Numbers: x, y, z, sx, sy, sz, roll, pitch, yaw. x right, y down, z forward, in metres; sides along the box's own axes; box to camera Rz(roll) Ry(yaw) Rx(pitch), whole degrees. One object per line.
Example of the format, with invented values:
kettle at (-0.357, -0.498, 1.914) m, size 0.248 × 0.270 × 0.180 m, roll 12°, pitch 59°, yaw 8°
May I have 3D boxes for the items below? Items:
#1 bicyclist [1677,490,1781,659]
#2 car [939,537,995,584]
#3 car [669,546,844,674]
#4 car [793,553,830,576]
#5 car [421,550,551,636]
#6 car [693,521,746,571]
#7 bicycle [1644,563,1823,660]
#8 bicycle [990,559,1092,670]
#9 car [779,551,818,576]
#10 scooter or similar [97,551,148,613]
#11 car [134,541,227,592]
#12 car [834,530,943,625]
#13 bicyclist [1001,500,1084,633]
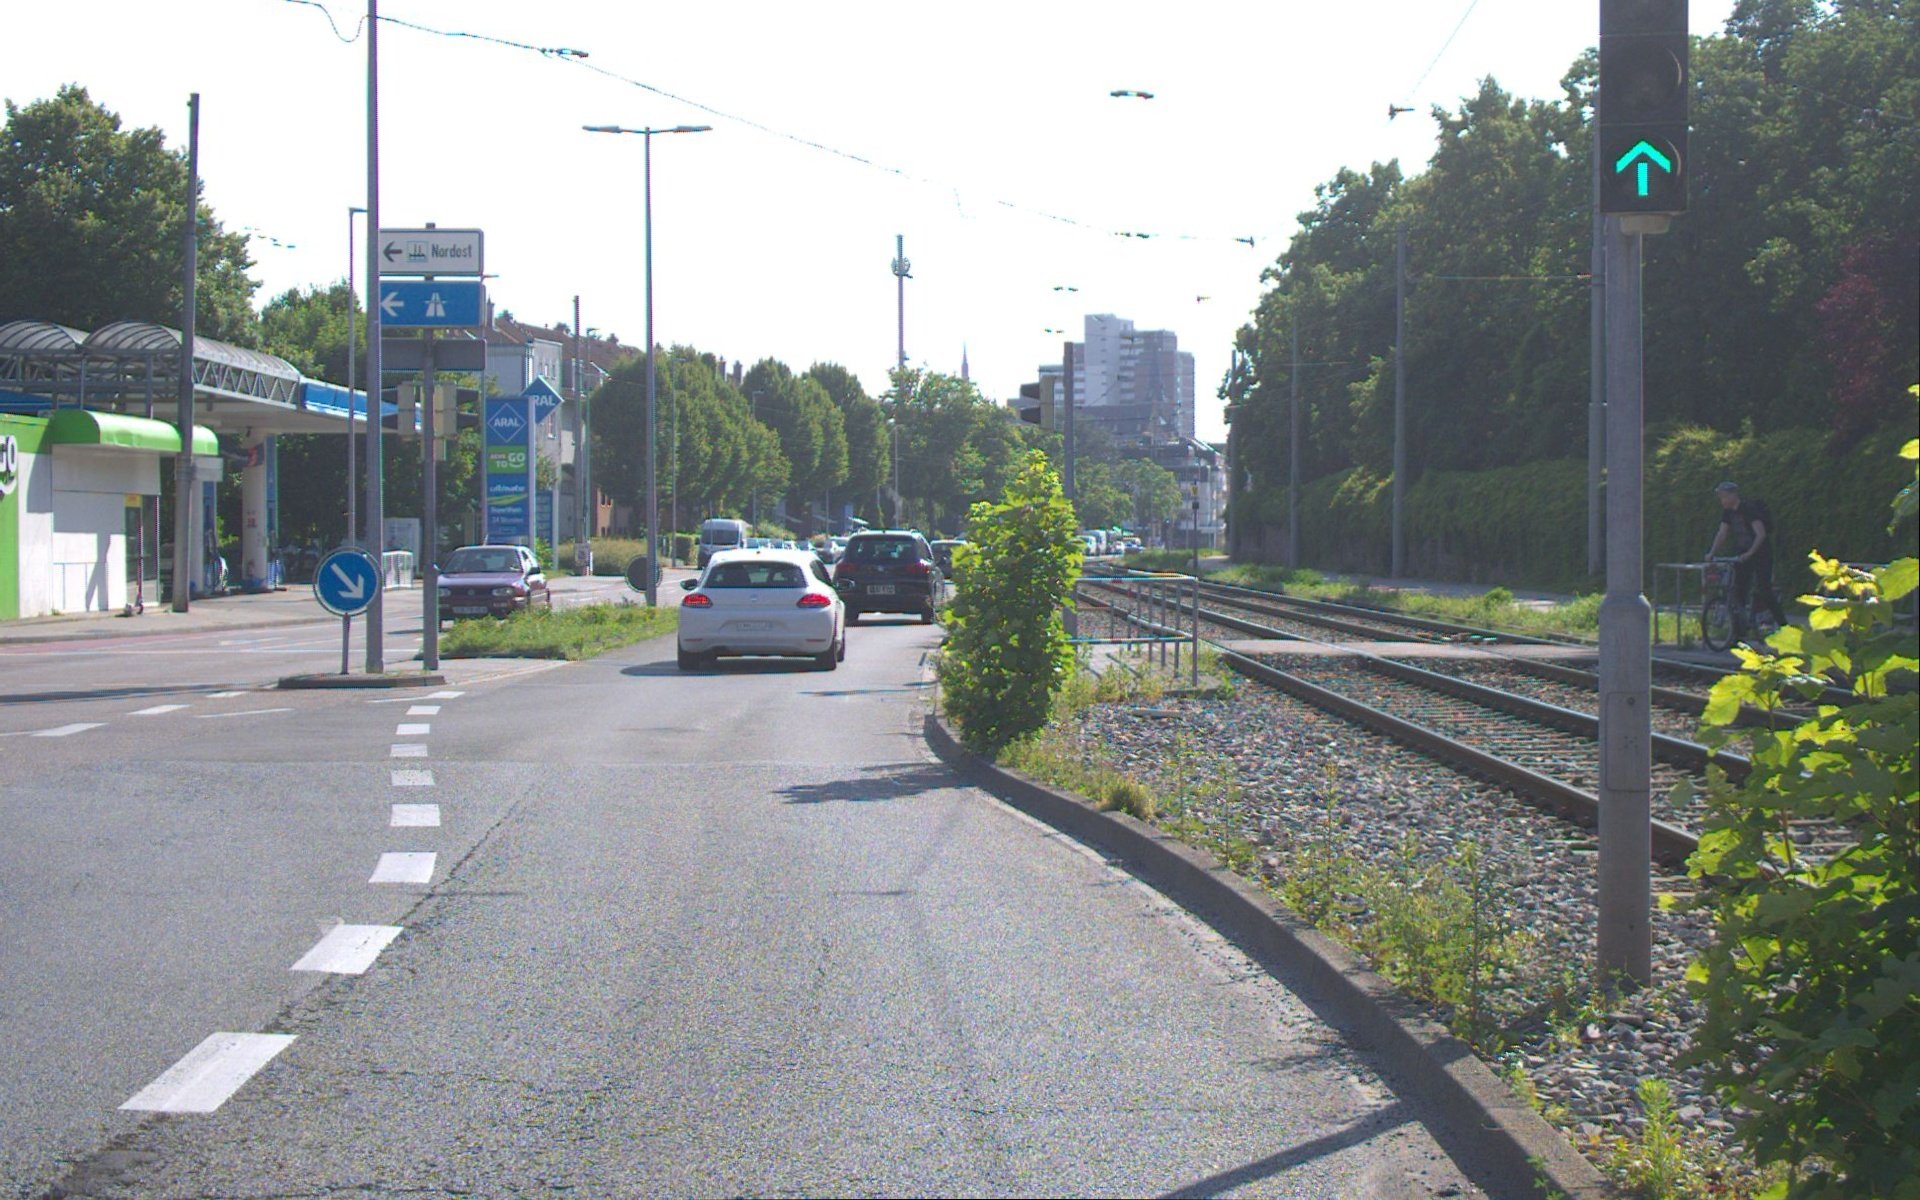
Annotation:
bicyclist at (9.167, -0.312, 40.978) m, size 1.034 × 1.987 × 0.946 m, roll 0°, pitch 1°, yaw 24°
car at (0.241, -1.305, 112.443) m, size 1.749 × 1.480 × 3.601 m, roll 2°, pitch 1°, yaw 1°
car at (-2.325, 0.083, 40.102) m, size 1.781 × 1.351 × 3.601 m, roll 2°, pitch 1°, yaw 0°
car at (-9.316, -2.230, 216.287) m, size 1.994 × 1.411 × 3.843 m, roll 0°, pitch 1°, yaw 2°
car at (-8.027, -0.146, 58.462) m, size 1.653 × 1.390 × 4.134 m, roll 0°, pitch 1°, yaw 0°
car at (-11.657, -2.641, 166.802) m, size 1.994 × 2.368 × 4.538 m, roll 0°, pitch 1°, yaw 3°
bicycle at (9.218, 0.126, 40.964) m, size 1.923 × 1.111 × 0.946 m, roll 0°, pitch 1°, yaw 25°
bicycle at (0.886, 0.139, 37.058) m, size 0.644 × 1.150 × 1.935 m, roll 0°, pitch 1°, yaw 16°
car at (-9.628, -2.171, 204.753) m, size 1.994 × 1.411 × 3.843 m, roll 0°, pitch 1°, yaw 2°
scooter or similar at (-16.660, -0.362, 68.435) m, size 0.532 × 1.170 × 1.310 m, roll 5°, pitch 1°, yaw 3°
car at (-22.057, -0.966, 97.421) m, size 1.744 × 1.388 × 4.121 m, roll 0°, pitch 1°, yaw -1°
car at (-1.297, -0.430, 61.162) m, size 1.724 × 1.587 × 3.602 m, roll 2°, pitch 1°, yaw -4°
bicyclist at (0.889, -0.362, 37.023) m, size 0.644 × 1.411 × 1.012 m, roll 1°, pitch 0°, yaw 16°
